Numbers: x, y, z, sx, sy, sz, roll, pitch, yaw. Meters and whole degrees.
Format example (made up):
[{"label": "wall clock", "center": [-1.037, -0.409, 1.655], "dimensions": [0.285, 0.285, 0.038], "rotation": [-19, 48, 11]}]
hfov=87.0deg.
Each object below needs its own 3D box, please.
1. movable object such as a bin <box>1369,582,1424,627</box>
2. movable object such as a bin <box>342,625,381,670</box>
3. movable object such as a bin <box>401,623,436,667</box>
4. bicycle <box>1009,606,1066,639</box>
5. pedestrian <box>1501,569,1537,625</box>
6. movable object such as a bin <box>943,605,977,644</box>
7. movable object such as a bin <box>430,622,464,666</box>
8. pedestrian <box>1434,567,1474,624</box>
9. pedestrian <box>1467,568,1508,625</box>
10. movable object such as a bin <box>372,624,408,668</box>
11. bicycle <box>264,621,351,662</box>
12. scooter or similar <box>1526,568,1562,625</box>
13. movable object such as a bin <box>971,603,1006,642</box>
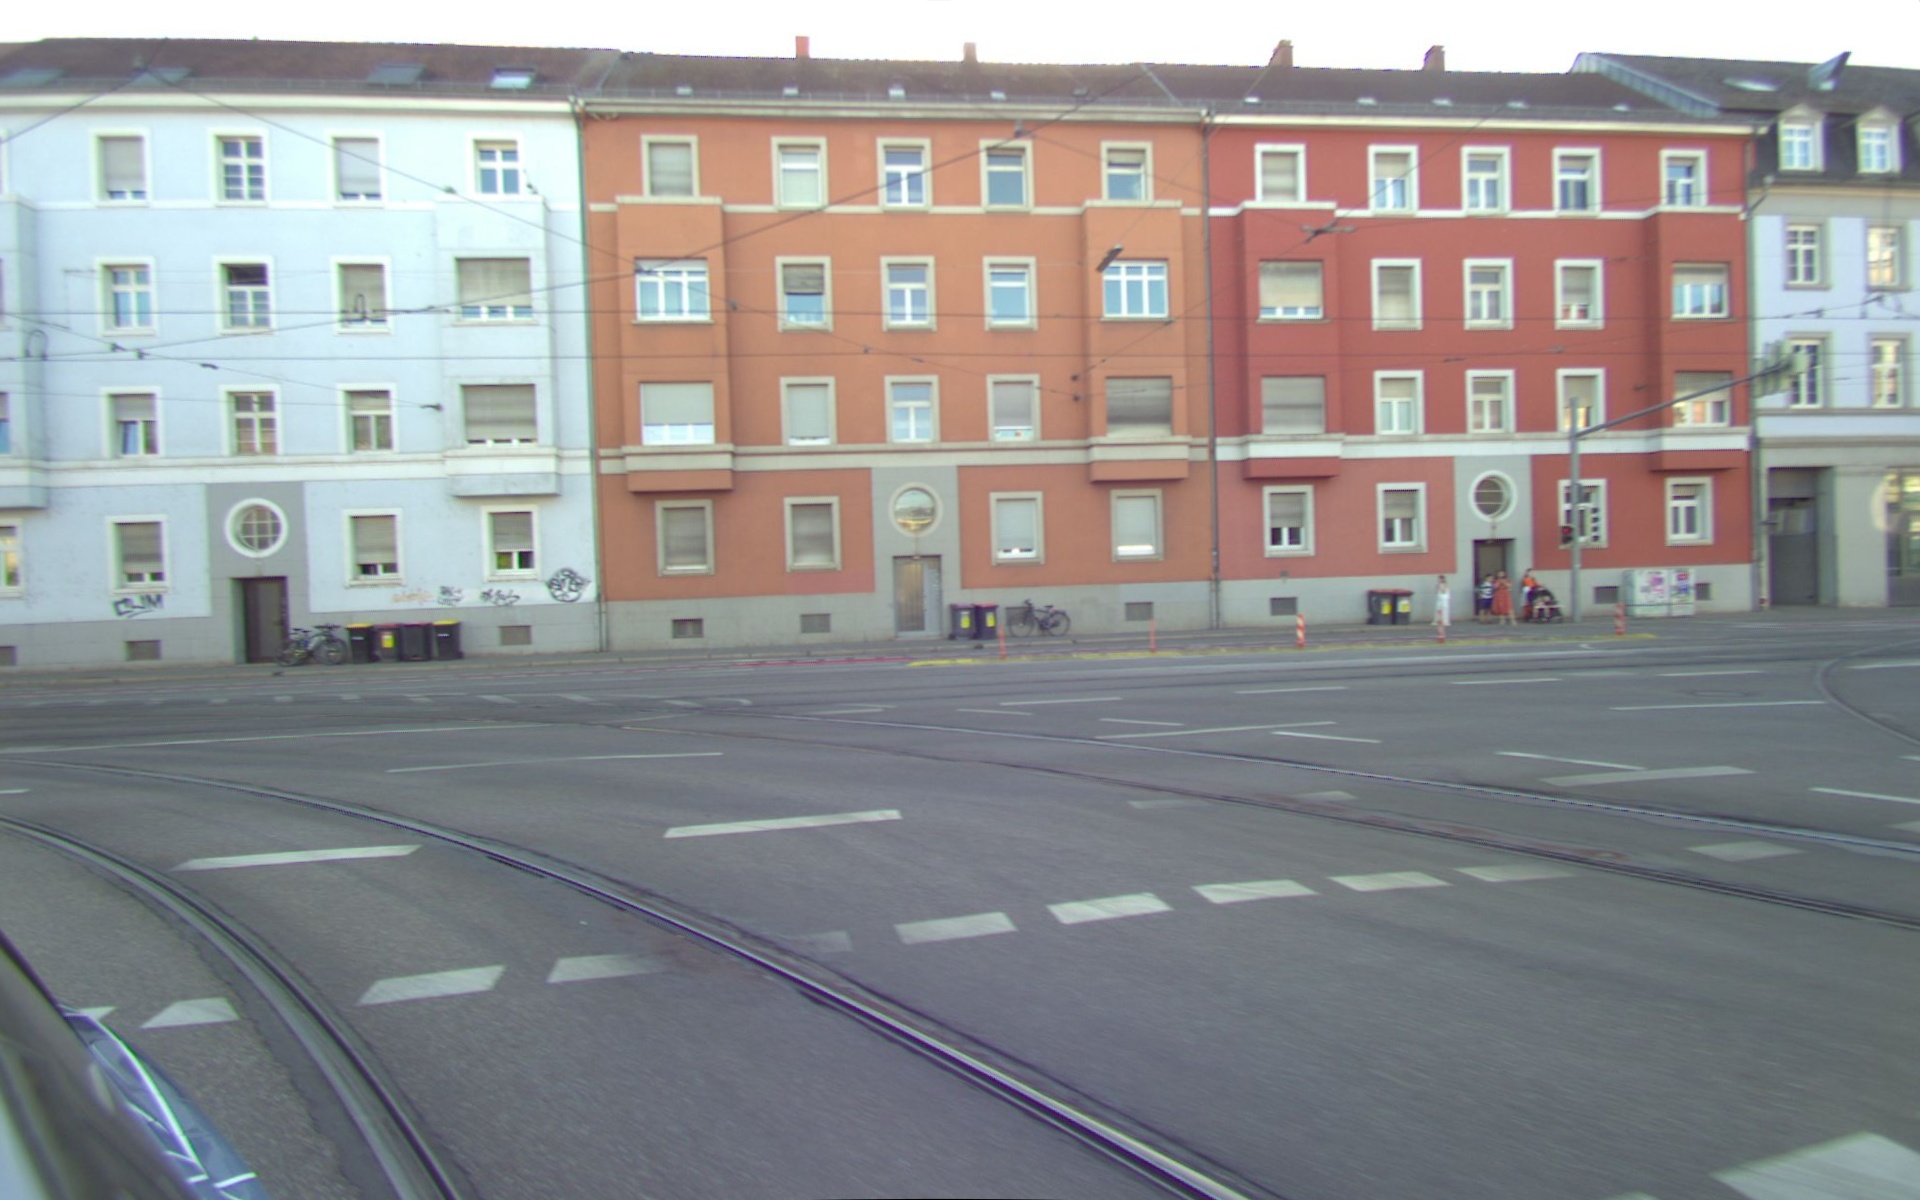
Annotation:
[{"label": "movable object such as a bin", "center": [12.960, 0.133, 30.098], "dimensions": [1.216, 1.259, 0.873], "rotation": [-2, 0, 0]}, {"label": "movable object such as a bin", "center": [-15.962, 1.258, 27.018], "dimensions": [0.638, 1.114, 0.705], "rotation": [-2, 1, -7]}, {"label": "movable object such as a bin", "center": [-14.555, 1.198, 27.205], "dimensions": [0.573, 1.114, 0.705], "rotation": [-2, 1, -7]}, {"label": "bicycle", "center": [2.220, 0.644, 29.070], "dimensions": [1.581, 0.897, 0.336], "rotation": [-2, 0, -2]}, {"label": "pedestrian", "center": [16.763, -0.104, 30.355], "dimensions": [0.783, 1.645, 0.656], "rotation": [-2, 1, -39]}, {"label": "movable object such as a bin", "center": [-0.004, 0.682, 28.588], "dimensions": [0.798, 1.048, 0.847], "rotation": [-2, 0, -11]}, {"label": "movable object such as a bin", "center": [-13.795, 1.173, 27.212], "dimensions": [0.573, 1.114, 0.705], "rotation": [-2, 1, -7]}, {"label": "pedestrian", "center": [14.547, -0.139, 29.821], "dimensions": [0.643, 1.645, 0.798], "rotation": [-2, 1, -28]}, {"label": "pedestrian", "center": [15.617, -0.117, 29.978], "dimensions": [0.783, 1.645, 0.832], "rotation": [-2, 1, -44]}, {"label": "movable object such as a bin", "center": [-15.263, 1.231, 27.097], "dimensions": [0.573, 1.114, 0.705], "rotation": [-2, 1, -7]}, {"label": "bicycle", "center": [-17.334, 1.092, 26.914], "dimensions": [1.848, 0.987, 0.608], "rotation": [-2, 1, -6]}, {"label": "scooter or similar", "center": [17.203, -0.109, 29.808], "dimensions": [0.783, 1.645, 0.656], "rotation": [-2, 1, -39]}, {"label": "movable object such as a bin", "center": [0.796, 0.635, 28.768], "dimensions": [0.798, 1.048, 0.847], "rotation": [-2, 0, -11]}]
